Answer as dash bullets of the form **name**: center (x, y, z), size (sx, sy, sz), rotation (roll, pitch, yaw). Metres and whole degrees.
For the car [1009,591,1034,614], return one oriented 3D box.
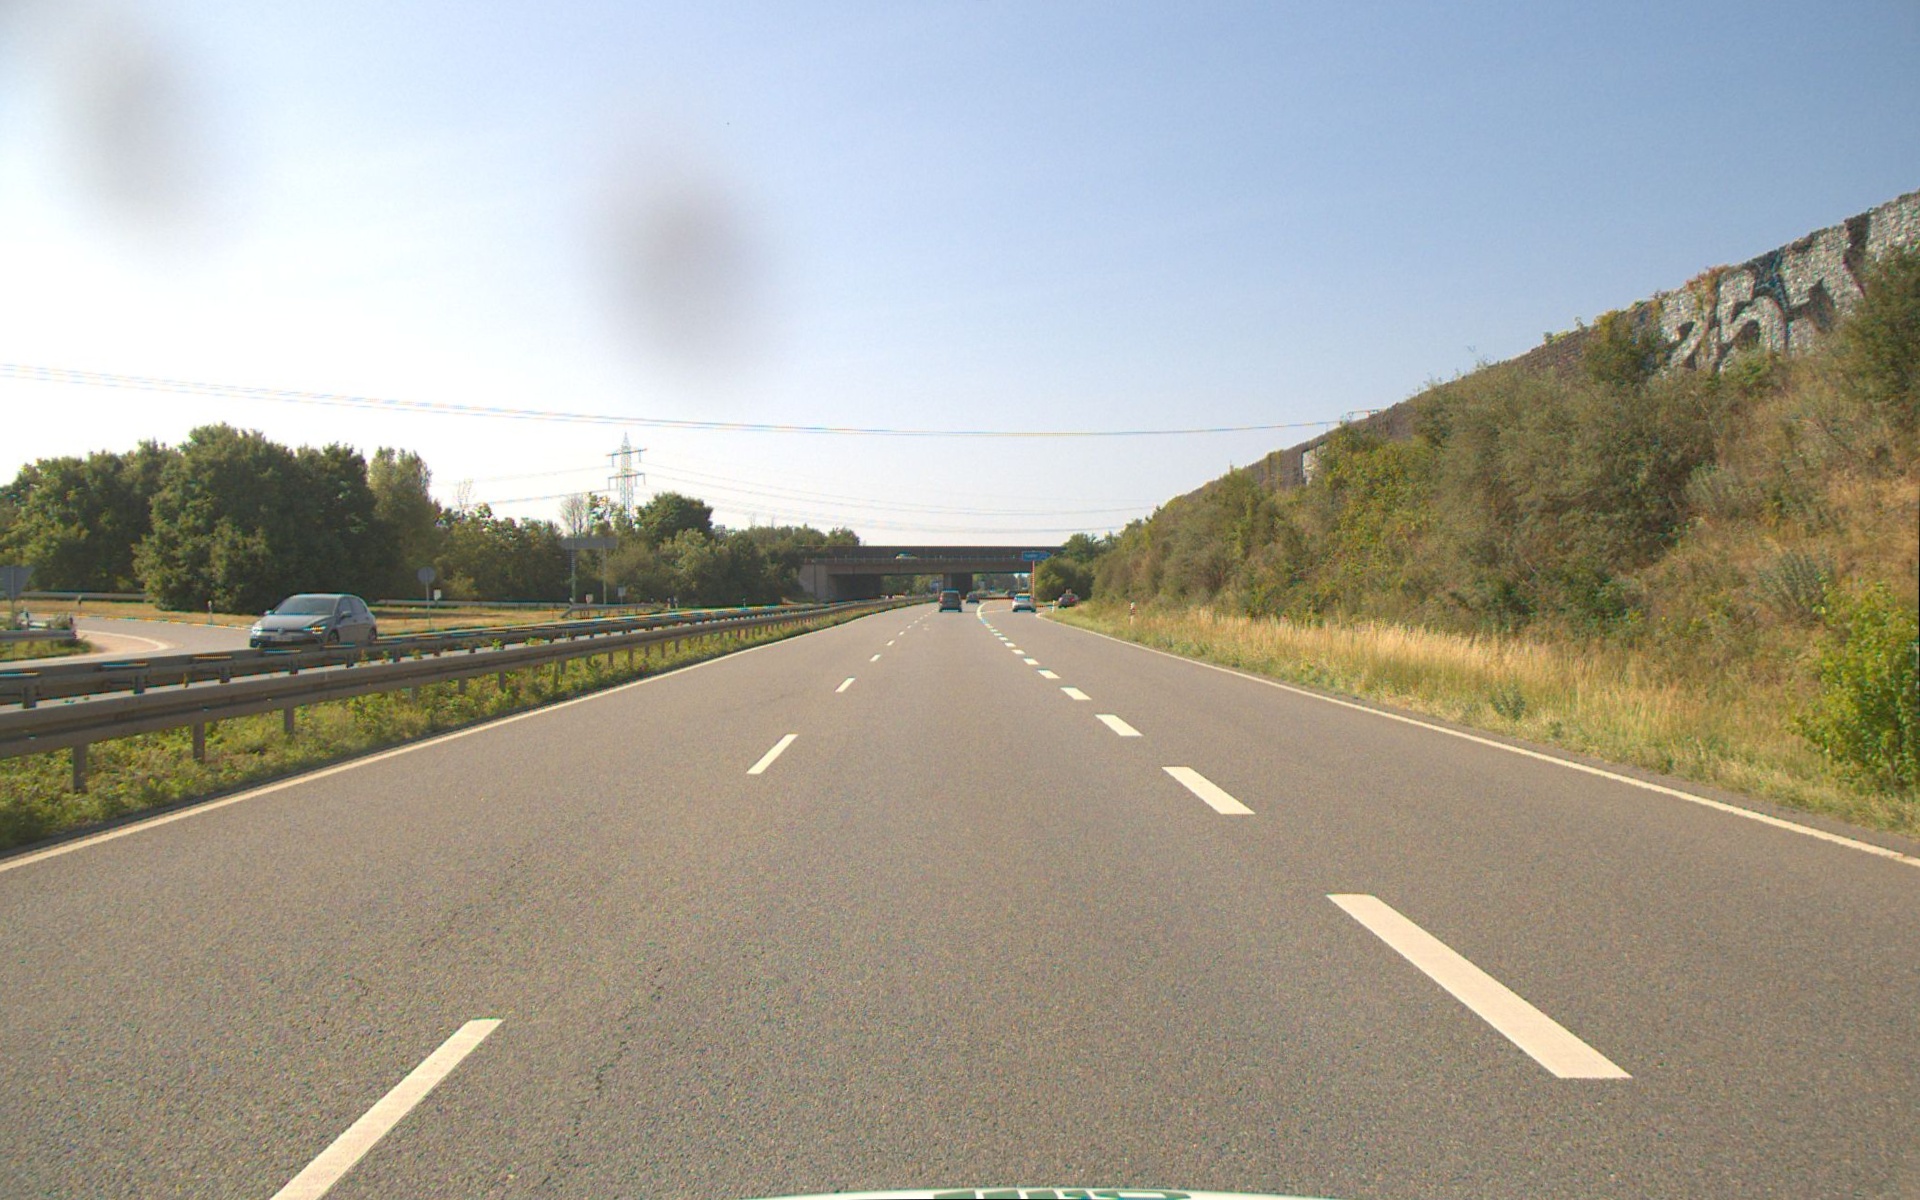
- **car**: center (5.006, 0.180, 133.704), size (1.758, 1.694, 4.002), rotation (2, 1, 4)

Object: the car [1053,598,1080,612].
- **car**: center (10.581, 0.474, 164.605), size (1.862, 1.320, 4.003), rotation (2, 1, 16)

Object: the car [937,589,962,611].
- **car**: center (-0.794, 0.004, 130.252), size (1.811, 1.673, 4.001), rotation (0, 0, 2)

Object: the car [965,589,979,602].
- **car**: center (1.580, -0.605, 215.936), size (1.811, 1.673, 4.001), rotation (0, 0, 2)

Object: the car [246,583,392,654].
- **car**: center (-14.972, 0.393, 38.888), size (1.666, 1.511, 4.619), rotation (2, 0, -1)
